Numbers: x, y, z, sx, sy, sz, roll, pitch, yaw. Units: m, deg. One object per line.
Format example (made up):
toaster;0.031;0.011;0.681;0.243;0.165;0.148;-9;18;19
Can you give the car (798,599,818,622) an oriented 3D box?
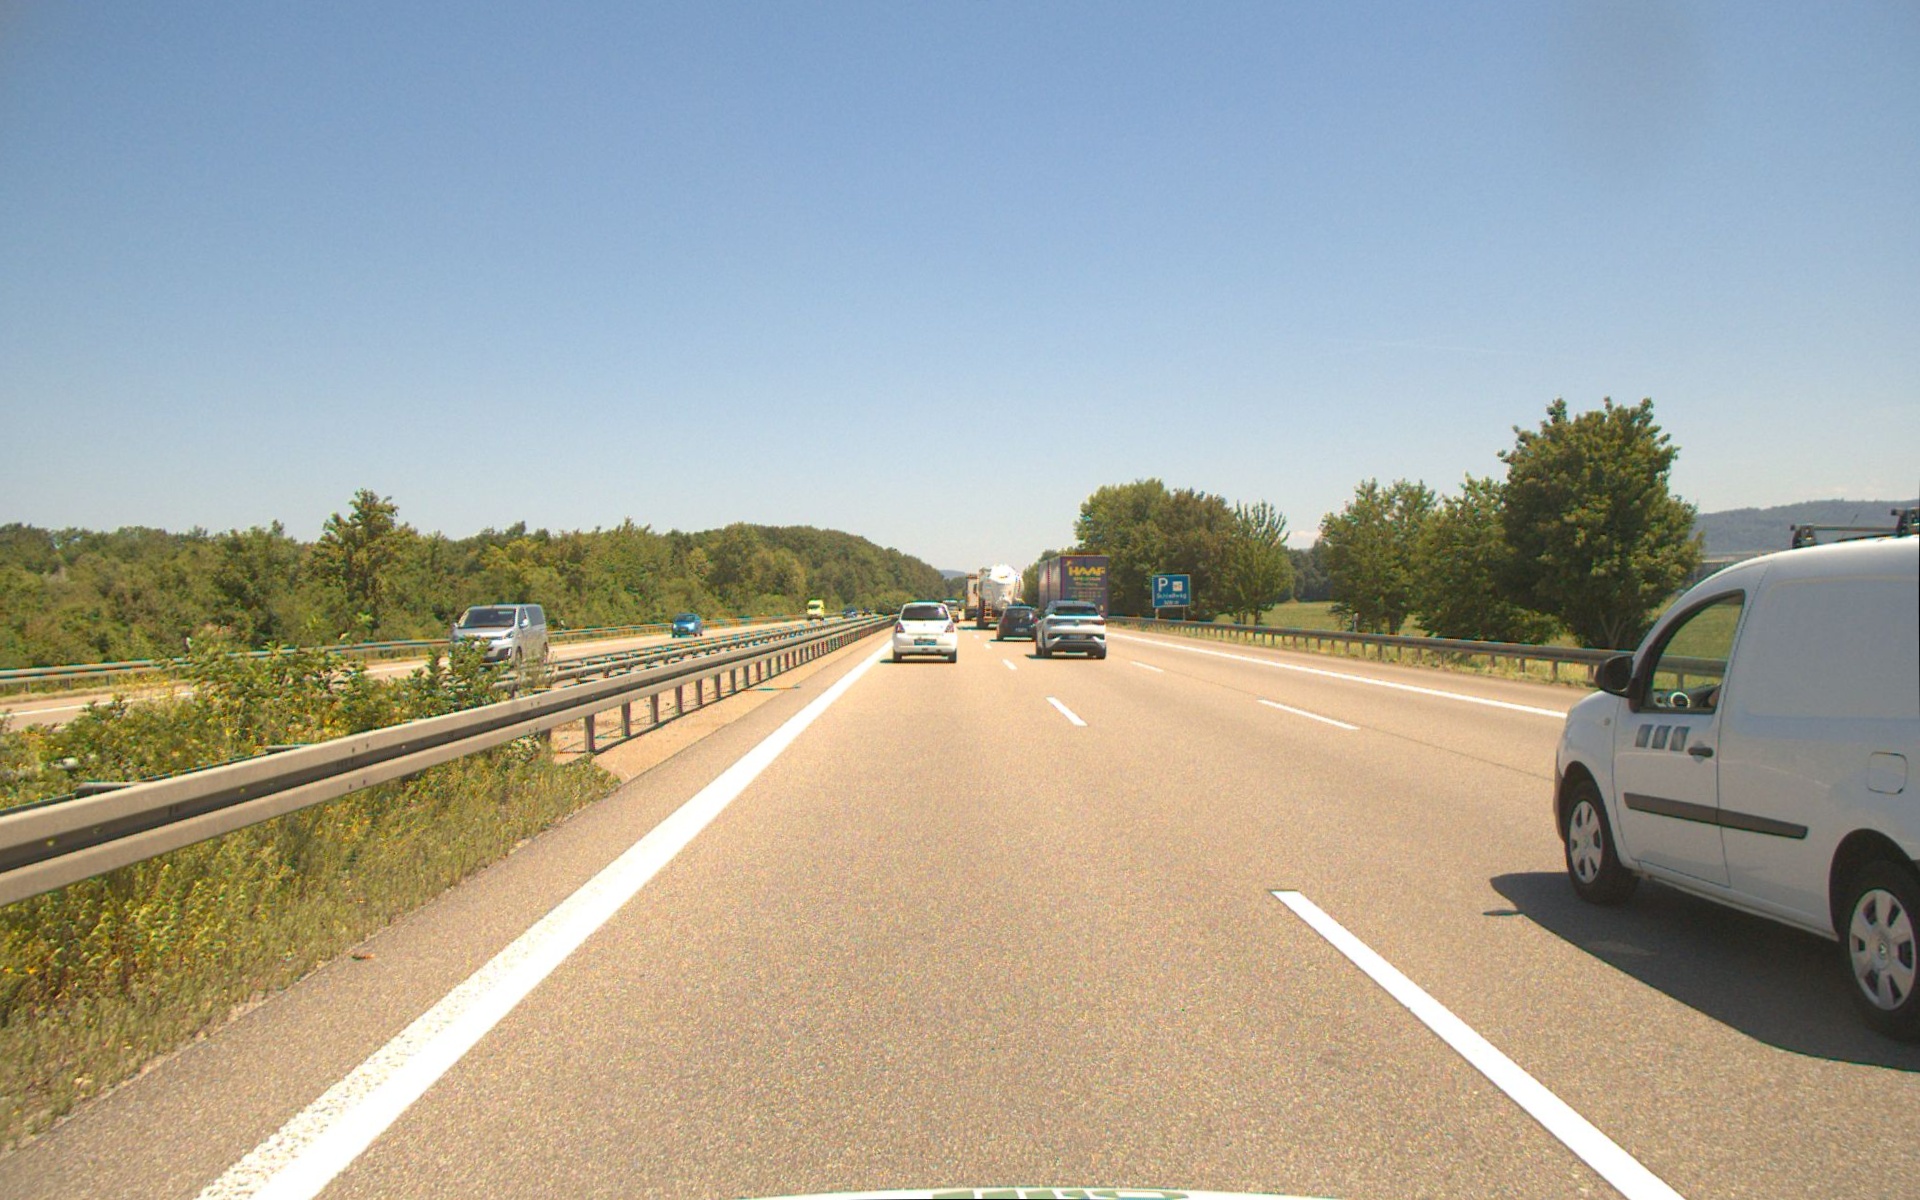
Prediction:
car;-19.970;1.349;217.072;2.121;2.827;5.798;-3;0;-1

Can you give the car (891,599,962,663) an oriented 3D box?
car;-0.889;0.782;43.422;1.763;1.579;3.609;1;0;-2

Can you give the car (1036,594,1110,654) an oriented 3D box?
car;3.236;0.671;48.018;1.765;1.631;4.380;1;0;-1

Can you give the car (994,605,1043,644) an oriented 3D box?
car;2.420;1.000;69.002;1.813;1.549;3.956;1;0;-1

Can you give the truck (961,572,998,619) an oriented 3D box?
truck;1.766;-0.432;157.975;3.325;4.287;12.082;1;0;0

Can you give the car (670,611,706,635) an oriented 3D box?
car;-17.339;1.465;105.613;1.531;1.449;3.473;-3;-1;3

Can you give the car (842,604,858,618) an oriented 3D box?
car;-14.556;1.417;219.534;1.830;1.719;4.625;-3;0;-1

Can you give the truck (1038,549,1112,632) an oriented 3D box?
truck;6.270;-0.489;92.532;3.045;4.211;15.510;1;0;0

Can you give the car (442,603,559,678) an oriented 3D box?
car;-13.297;1.117;48.201;2.000;1.958;5.225;-3;0;-2

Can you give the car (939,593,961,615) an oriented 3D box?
car;-1.104;0.472;183.541;2.424;2.395;5.181;1;0;0

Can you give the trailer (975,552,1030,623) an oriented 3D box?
trailer;2.535;-0.718;103.655;2.852;4.140;12.415;1;0;-1

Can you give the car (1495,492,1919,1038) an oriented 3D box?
car;4.185;0.584;7.526;1.816;1.895;4.700;1;0;-2

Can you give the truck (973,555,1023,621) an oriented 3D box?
truck;2.443;-0.756;107.849;2.853;4.150;7.192;1;0;-2

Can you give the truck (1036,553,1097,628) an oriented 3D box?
truck;6.249;-0.518;97.795;3.045;4.211;8.056;1;0;0
